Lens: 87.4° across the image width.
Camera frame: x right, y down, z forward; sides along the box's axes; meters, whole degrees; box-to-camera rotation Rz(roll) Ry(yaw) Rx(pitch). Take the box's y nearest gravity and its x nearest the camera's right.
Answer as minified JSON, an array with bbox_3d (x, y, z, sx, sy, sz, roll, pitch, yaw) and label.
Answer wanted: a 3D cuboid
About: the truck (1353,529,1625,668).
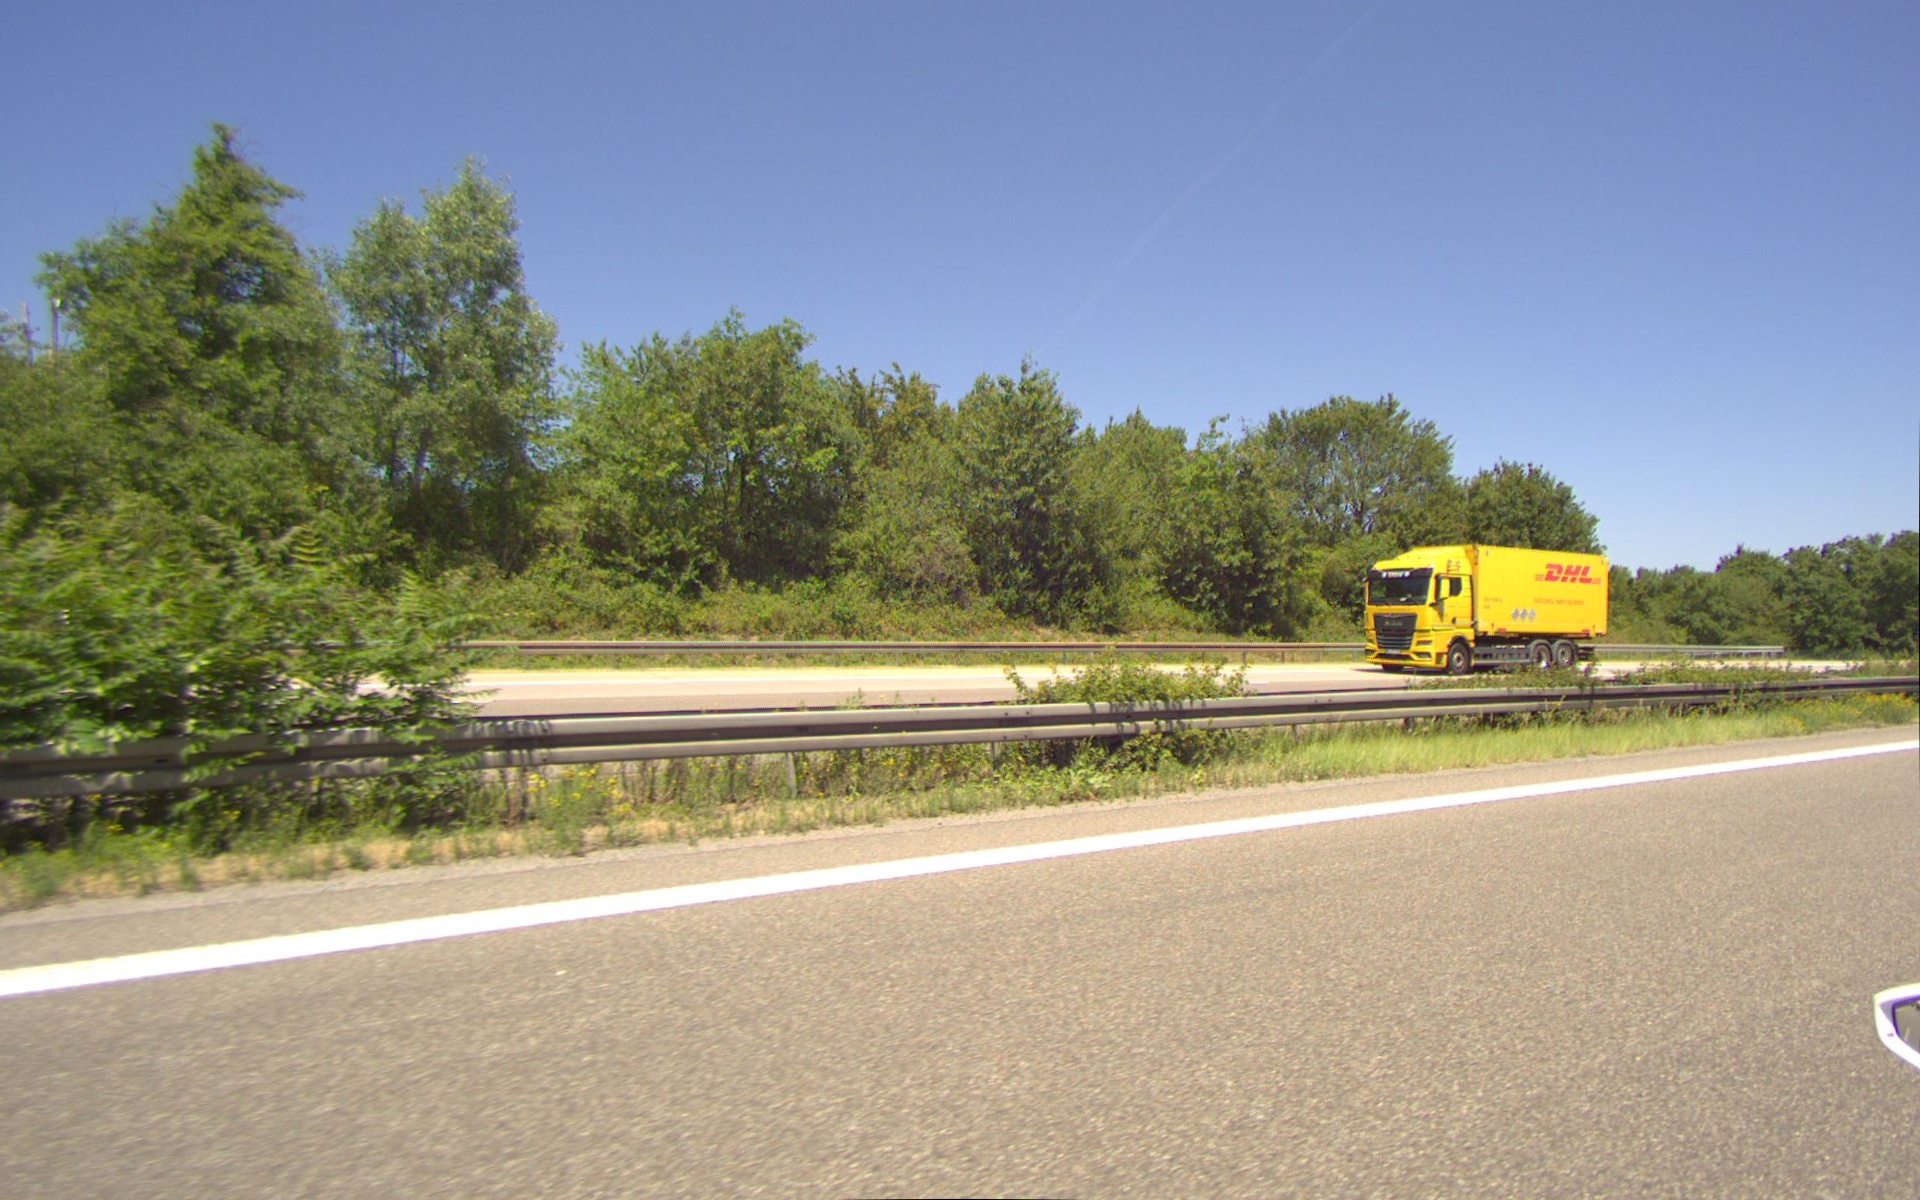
[{"bbox_3d":[17.877,0.126,33.570,10.665,4.093,2.737,2,-1,-30],"label":"truck"}]
